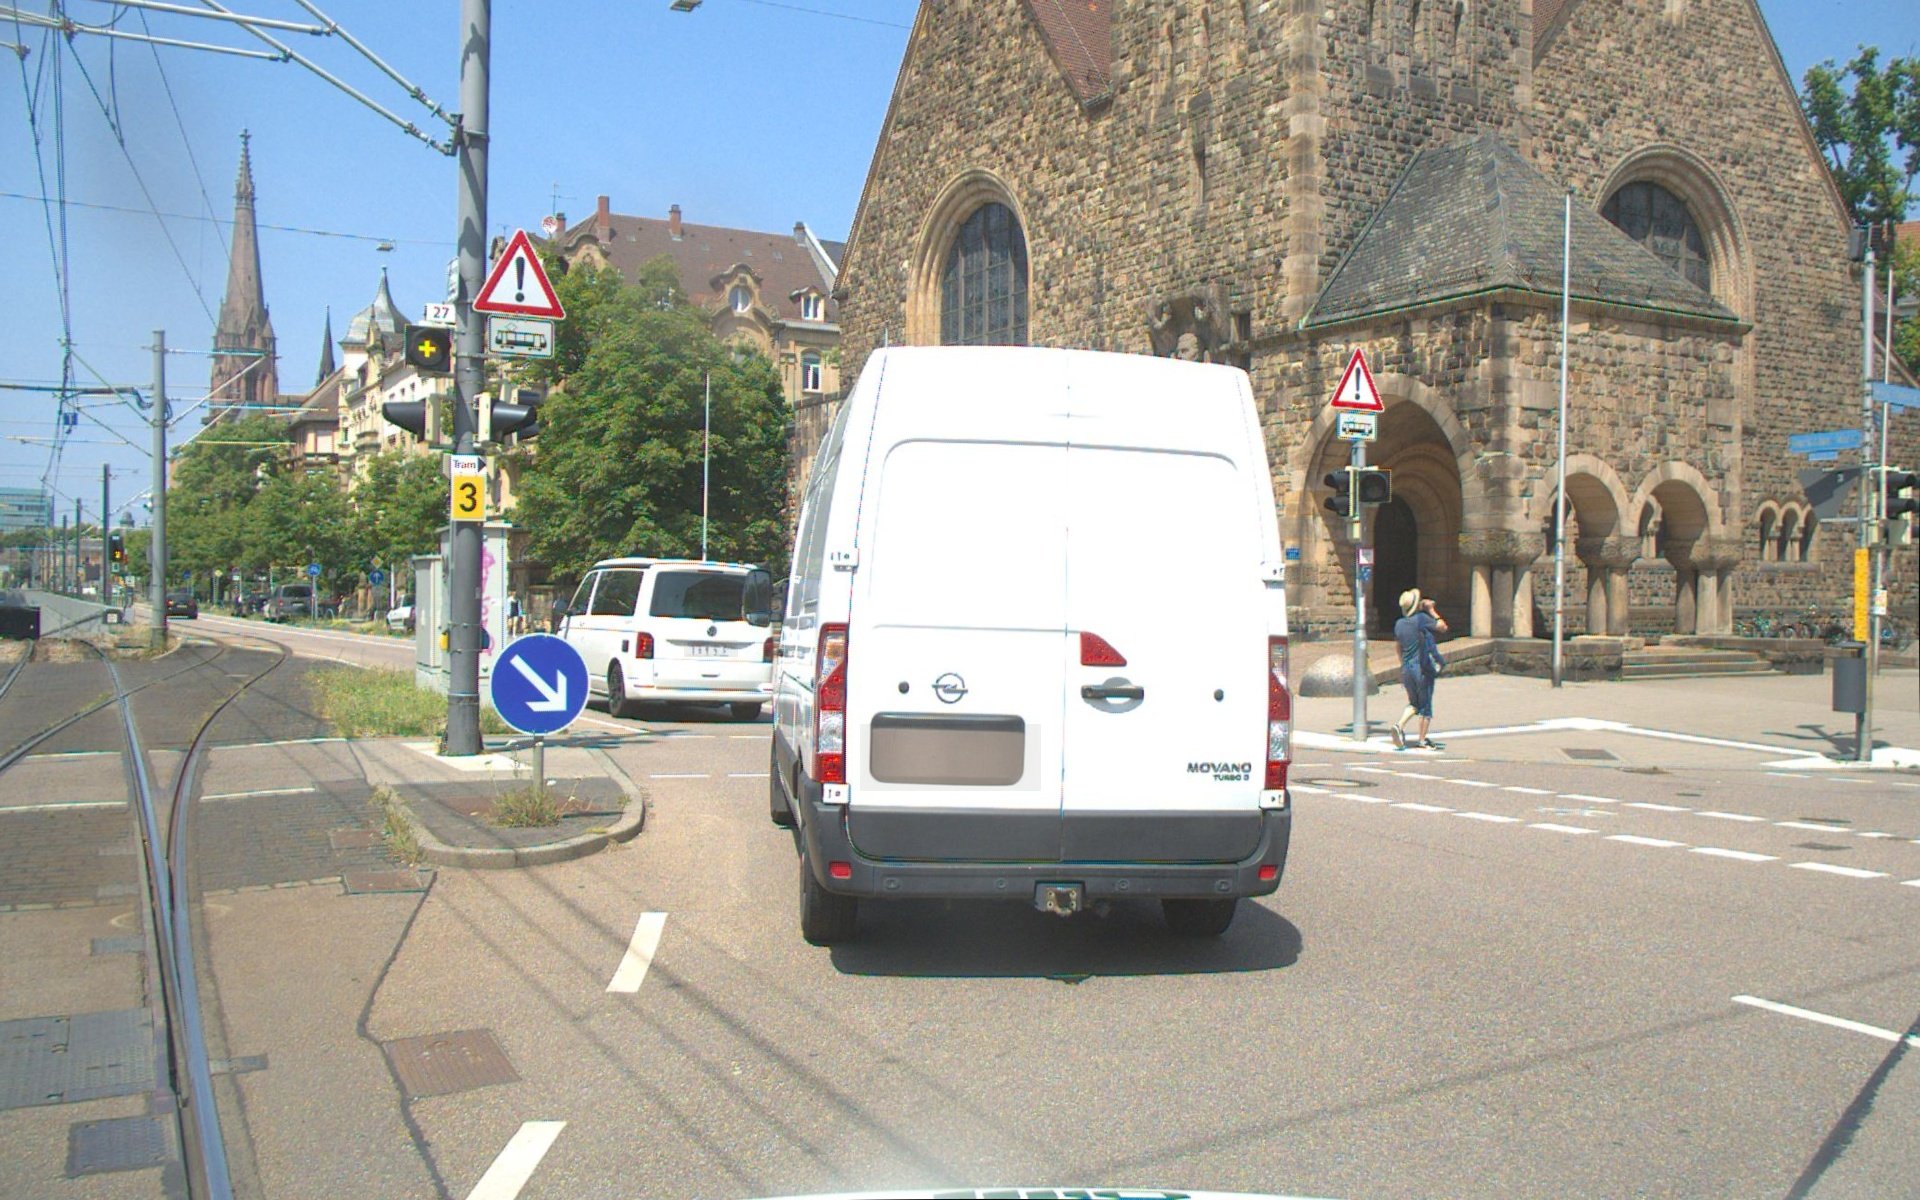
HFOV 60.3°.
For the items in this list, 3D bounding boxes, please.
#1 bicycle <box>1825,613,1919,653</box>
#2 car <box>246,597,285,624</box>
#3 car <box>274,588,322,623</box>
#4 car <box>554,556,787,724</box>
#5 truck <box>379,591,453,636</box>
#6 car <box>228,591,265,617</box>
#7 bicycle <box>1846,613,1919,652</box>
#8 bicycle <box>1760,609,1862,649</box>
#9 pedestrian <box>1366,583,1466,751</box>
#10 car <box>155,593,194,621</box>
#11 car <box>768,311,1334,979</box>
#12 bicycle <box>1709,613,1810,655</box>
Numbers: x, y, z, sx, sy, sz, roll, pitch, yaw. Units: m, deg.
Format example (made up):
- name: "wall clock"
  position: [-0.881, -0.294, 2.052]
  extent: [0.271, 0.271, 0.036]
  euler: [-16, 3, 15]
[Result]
- name: "bicycle"
  position: [24.873, 0.884, 44.929]
  extent: [0.696, 1.029, 2.475]
  euler: [0, 0, -28]
- name: "car"
  position: [-42.452, 0.635, 101.019]
  extent: [1.731, 1.606, 3.720]
  euler: [1, 0, -30]
- name: "car"
  position: [-34.050, 0.257, 85.033]
  extent: [1.731, 1.735, 3.720]
  euler: [1, 0, -30]
- name: "car"
  position: [-3.911, 0.478, 21.769]
  extent: [1.893, 1.978, 4.228]
  euler: [1, 0, -26]
- name: "truck"
  position: [-20.392, 0.500, 61.927]
  extent: [1.771, 1.553, 4.420]
  euler: [-2, 1, -30]
- name: "car"
  position: [-45.498, 0.265, 105.502]
  extent: [1.731, 1.606, 3.720]
  euler: [1, 0, -30]
- name: "bicycle"
  position: [25.763, 0.883, 45.511]
  extent: [0.696, 1.029, 2.475]
  euler: [0, 0, -28]
- name: "bicycle"
  position: [22.740, 0.761, 44.264]
  extent: [0.696, 1.029, 2.475]
  euler: [0, 0, -28]
- name: "pedestrian"
  position: [5.179, 0.749, 18.797]
  extent: [0.732, 1.854, 0.827]
  euler: [1, -1, -23]
- name: "car"
  position: [-45.235, 0.378, 95.237]
  extent: [1.731, 1.566, 3.720]
  euler: [1, 0, -30]
- name: "car"
  position: [0.090, 0.189, 8.856]
  extent: [2.077, 2.502, 5.045]
  euler: [1, 0, -8]
- name: "bicycle"
  position: [21.059, 0.881, 43.612]
  extent: [0.696, 1.029, 2.475]
  euler: [0, 0, -28]
